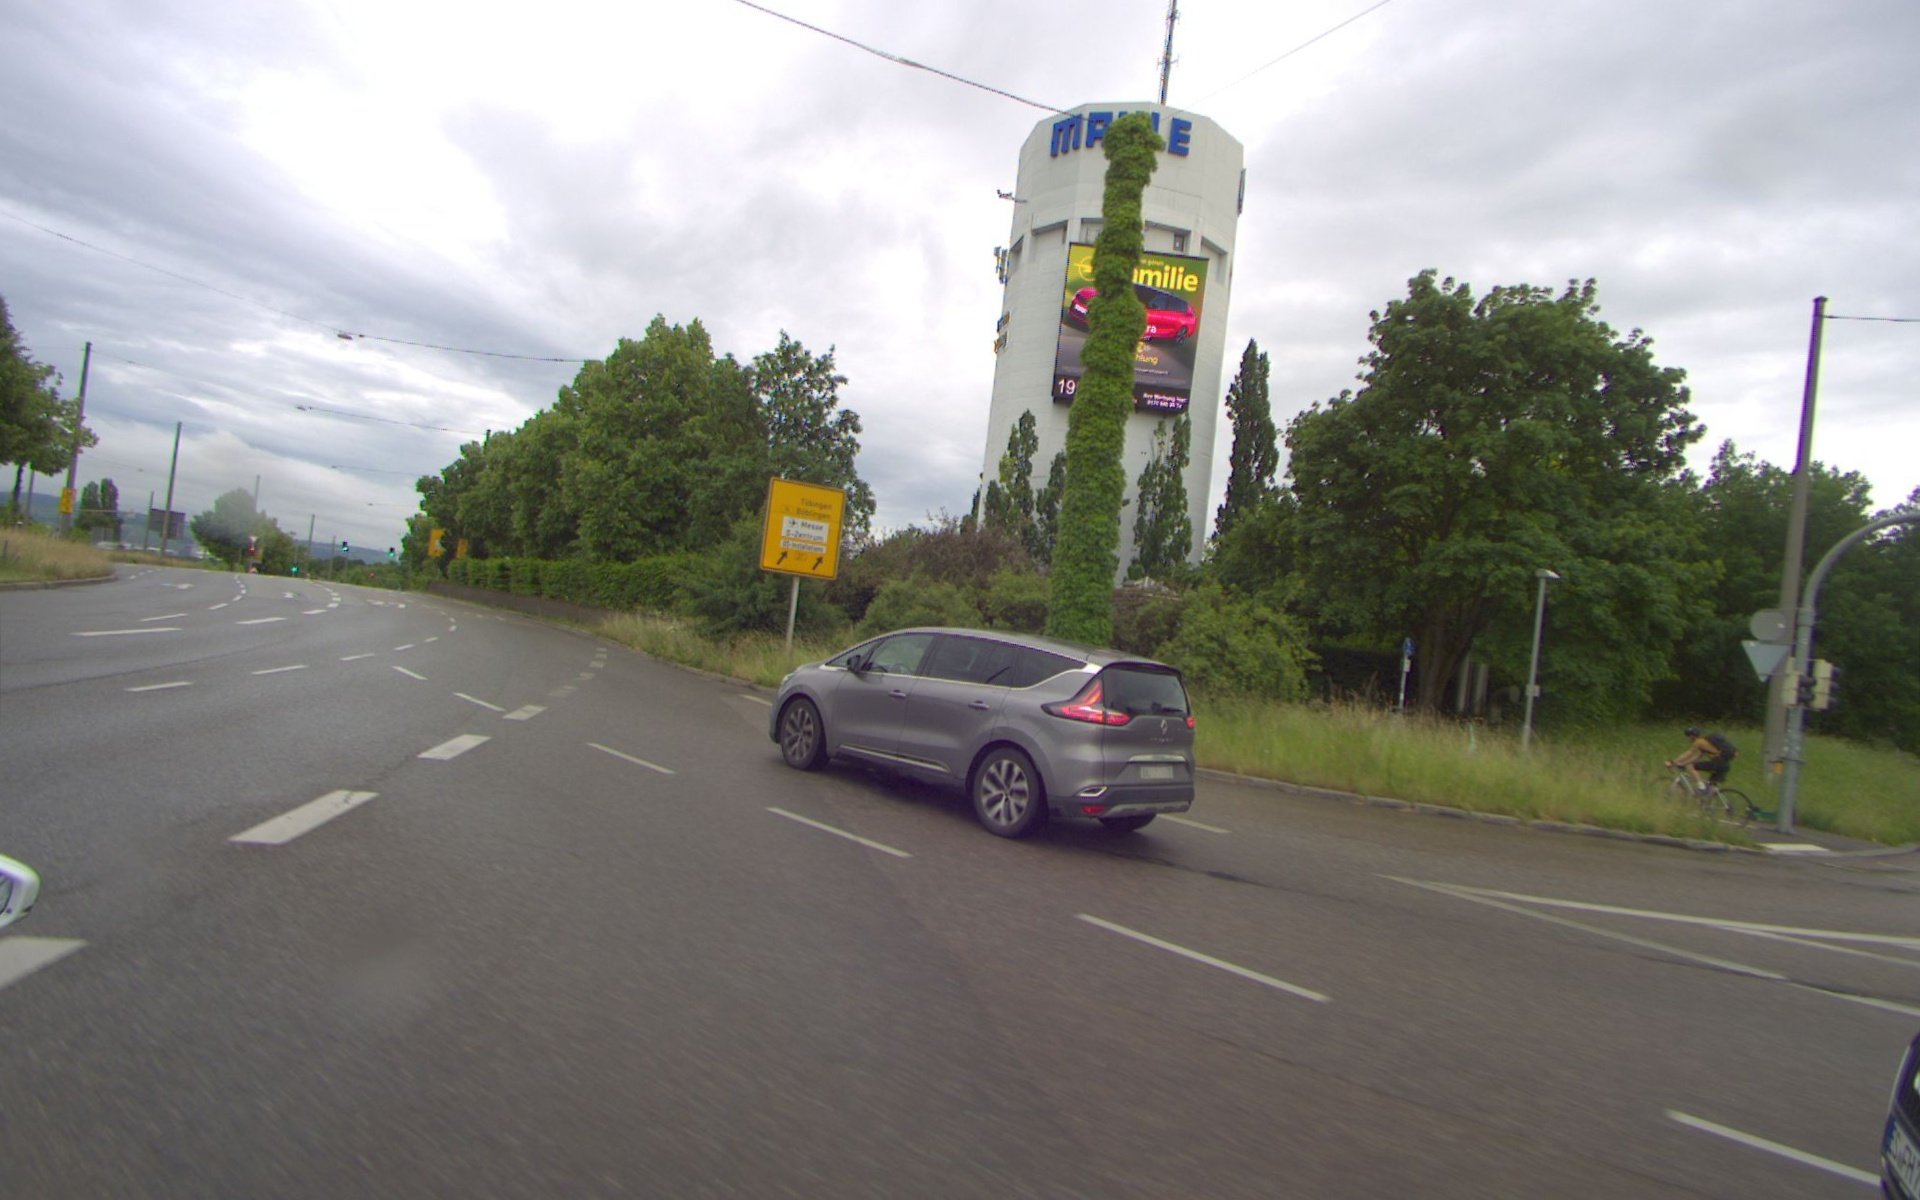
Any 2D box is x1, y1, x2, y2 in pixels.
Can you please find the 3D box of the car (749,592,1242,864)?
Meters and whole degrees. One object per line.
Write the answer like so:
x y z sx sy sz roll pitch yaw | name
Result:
0.124 1.043 9.676 4.506 1.694 1.862 6 -2 44 | car

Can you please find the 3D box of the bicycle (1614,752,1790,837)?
13.085 3.407 17.825 0.803 1.035 2.308 6 -1 -33 | bicycle

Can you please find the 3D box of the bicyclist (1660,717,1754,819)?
13.178 2.957 17.758 0.804 1.601 1.014 9 -3 -34 | bicyclist

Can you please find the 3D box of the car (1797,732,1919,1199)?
4.209 1.359 1.616 4.047 1.614 1.887 7 -2 33 | car
